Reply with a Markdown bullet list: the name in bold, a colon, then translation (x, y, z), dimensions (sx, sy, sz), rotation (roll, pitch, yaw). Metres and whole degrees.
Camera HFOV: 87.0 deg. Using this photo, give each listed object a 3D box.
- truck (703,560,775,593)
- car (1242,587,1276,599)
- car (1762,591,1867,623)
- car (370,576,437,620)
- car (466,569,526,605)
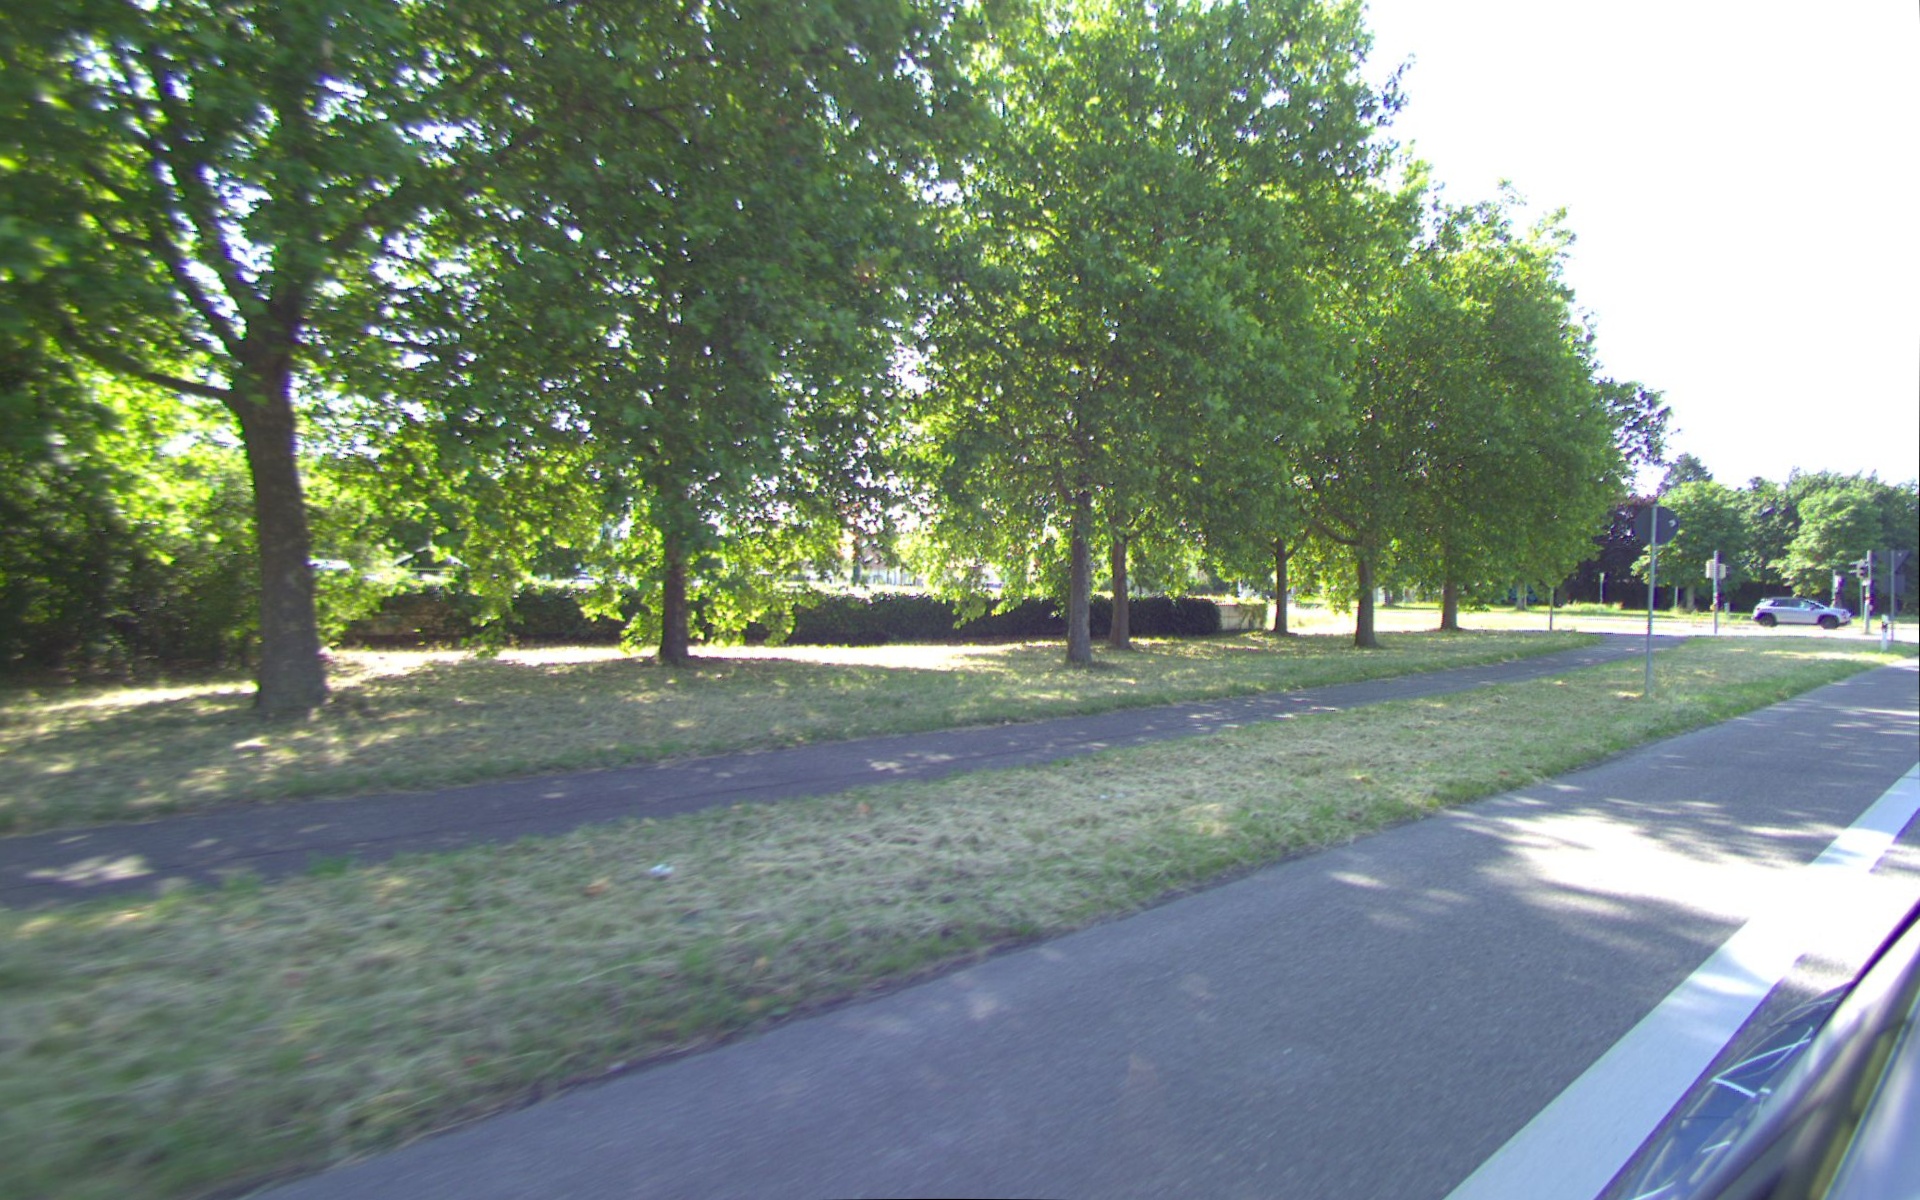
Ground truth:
- **truck**: translation (-24.495, -2.583, 111.996), dimensions (8.179, 3.590, 2.607), rotation (1, 1, 29)
- **car**: translation (32.845, -0.786, 111.099), dimensions (3.930, 1.304, 1.730), rotation (0, 1, -41)
- **car**: translation (45.257, 0.345, 53.633), dimensions (1.713, 1.583, 4.058), rotation (0, 1, -42)
- **car**: translation (-23.816, -0.136, 43.261), dimensions (1.950, 1.772, 4.507), rotation (0, 1, -36)
- **car**: translation (-24.153, -0.711, 52.623), dimensions (1.950, 1.772, 4.507), rotation (0, 1, -36)
